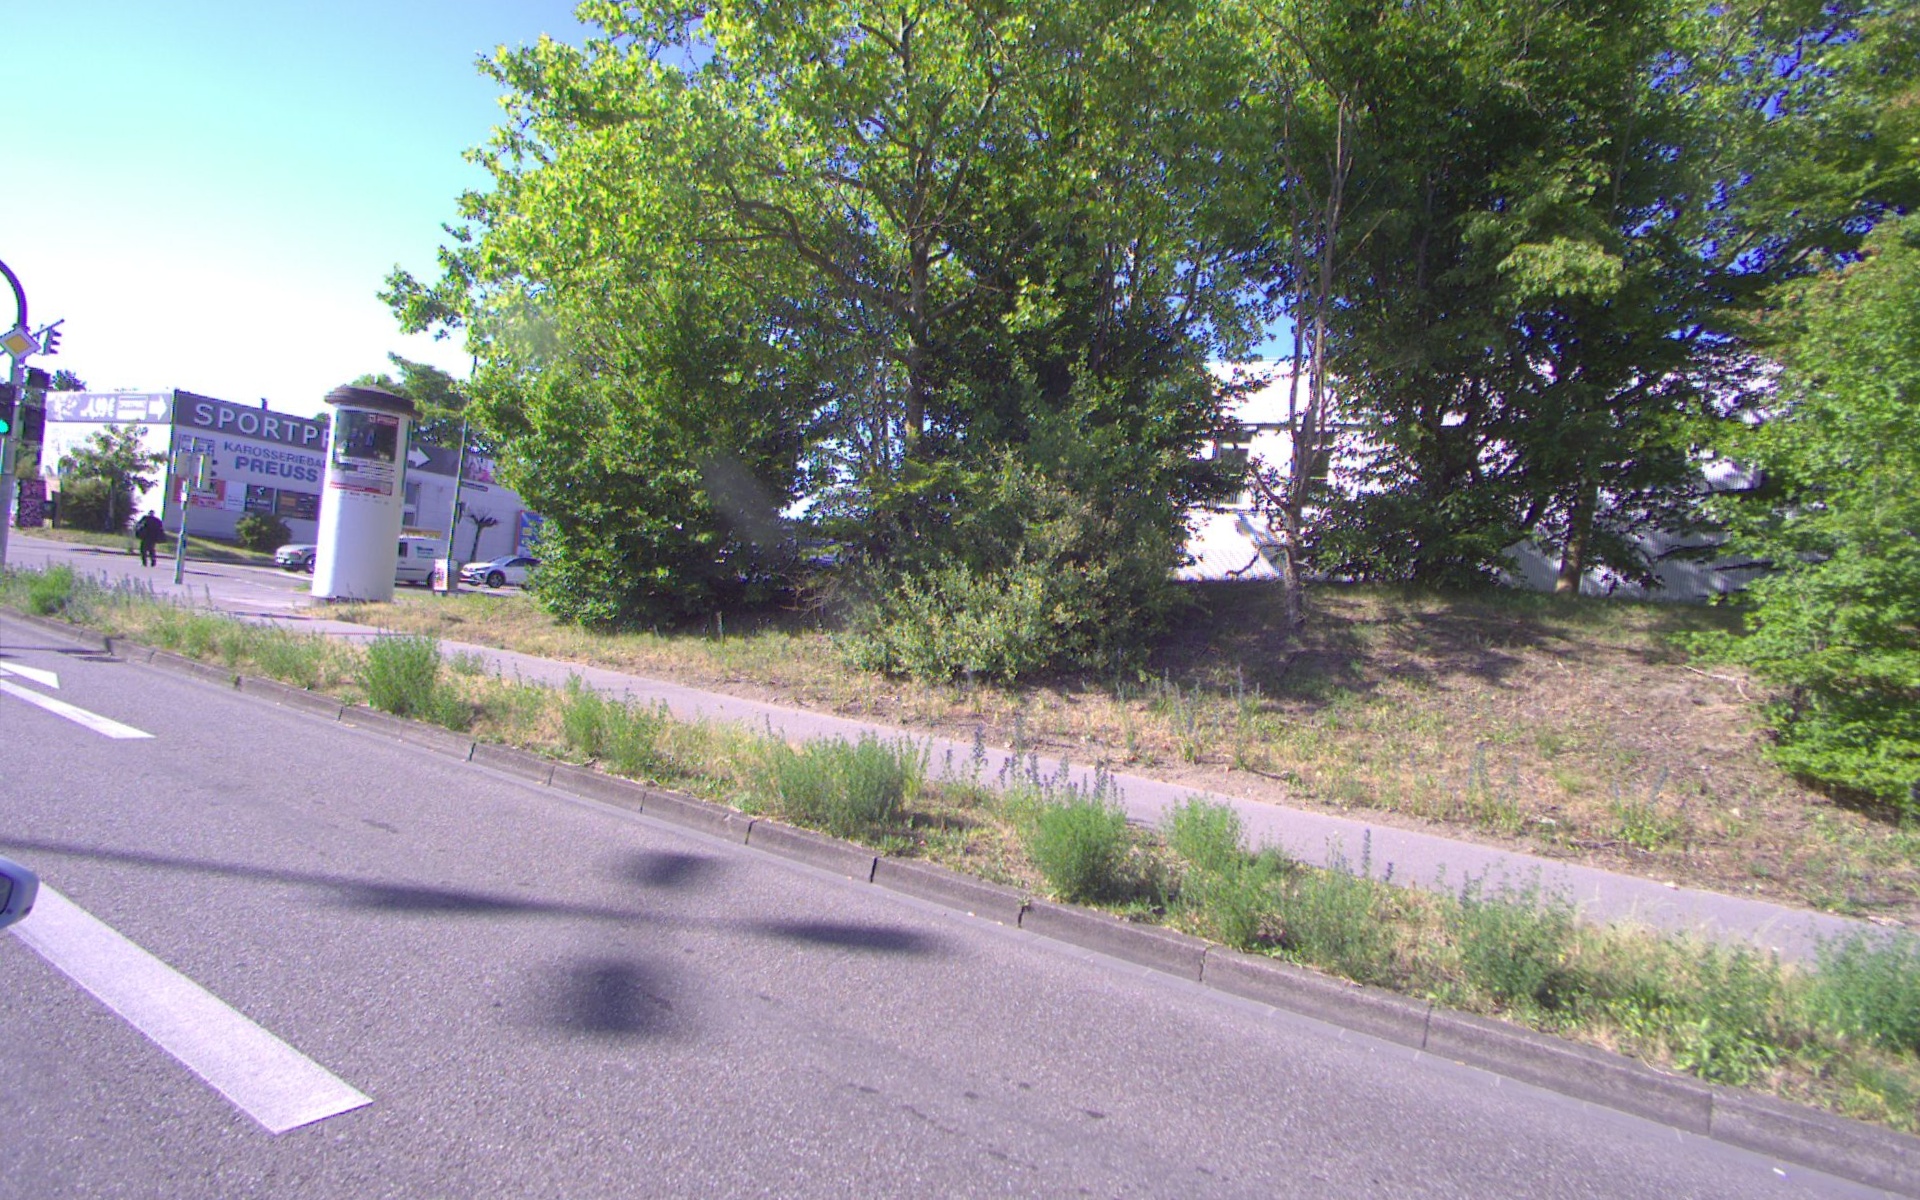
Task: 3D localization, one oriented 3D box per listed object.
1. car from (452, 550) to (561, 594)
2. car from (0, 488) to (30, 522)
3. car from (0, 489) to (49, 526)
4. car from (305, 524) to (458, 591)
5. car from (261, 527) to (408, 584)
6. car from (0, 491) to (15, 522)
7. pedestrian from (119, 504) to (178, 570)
[{"bbox_3d":[-19.942,-1.207,44.364,1.753,1.509,4.046,6,0,30],"label":"car"},{"bbox_3d":[-46.387,-4.640,46.603,1.828,1.472,4.490,6,0,33],"label":"car"},{"bbox_3d":[-44.184,-4.344,45.175,1.828,1.472,4.490,6,0,33],"label":"car"},{"bbox_3d":[-20.768,-1.488,36.285,1.735,1.824,4.387,8,1,30],"label":"car"},{"bbox_3d":[-23.548,-1.636,38.028,1.735,1.568,4.293,8,1,30],"label":"car"},{"bbox_3d":[-48.633,-4.761,48.233,1.828,1.472,4.490,6,0,33],"label":"car"},{"bbox_3d":[-23.679,-1.834,29.347,0.923,1.755,0.927,6,-2,31],"label":"pedestrian"}]
